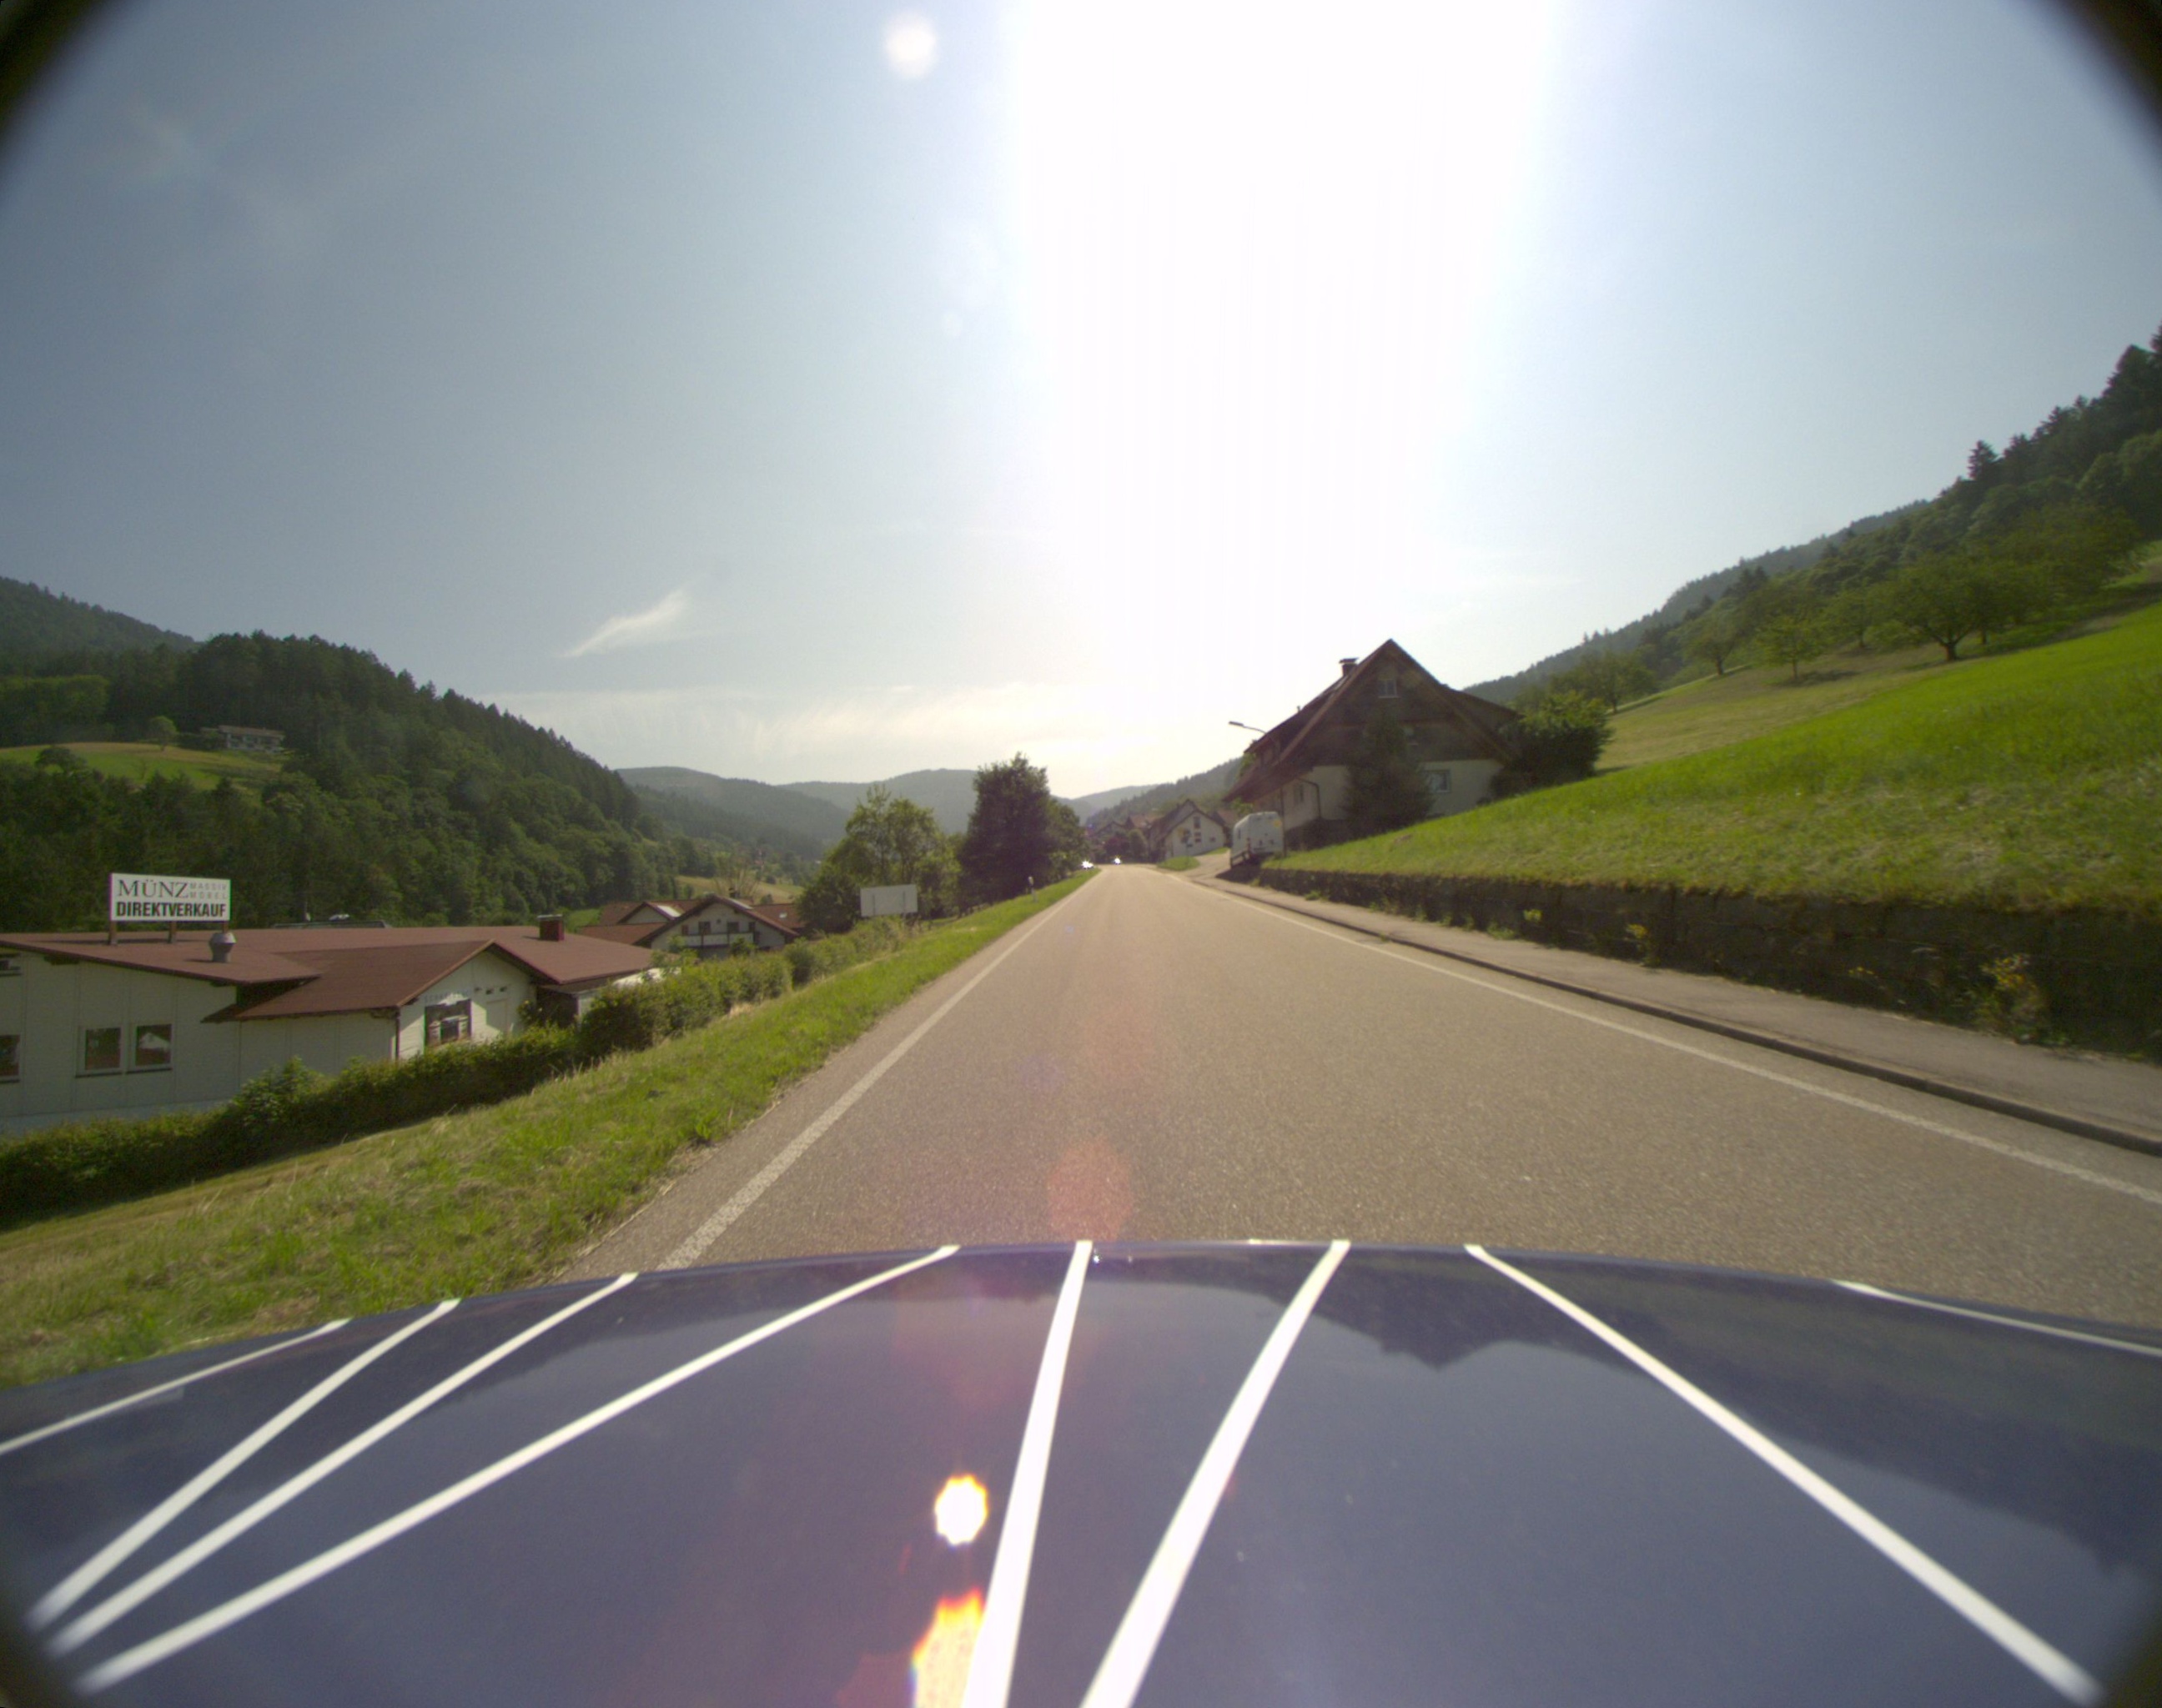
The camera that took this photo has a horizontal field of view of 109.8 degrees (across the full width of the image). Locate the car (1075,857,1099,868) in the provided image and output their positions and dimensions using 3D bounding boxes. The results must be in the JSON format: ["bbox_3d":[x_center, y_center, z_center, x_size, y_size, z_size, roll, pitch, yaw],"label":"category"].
[{"bbox_3d":[1.149,1.535,143.719,1.908,1.562,4.452,-8,1,-42],"label":"car"}]

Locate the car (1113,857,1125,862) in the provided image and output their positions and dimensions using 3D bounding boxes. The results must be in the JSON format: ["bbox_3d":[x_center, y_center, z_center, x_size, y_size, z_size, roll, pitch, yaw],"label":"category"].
[{"bbox_3d":[9.596,1.381,192.149,1.789,1.331,4.690,-3,0,-16],"label":"car"}]

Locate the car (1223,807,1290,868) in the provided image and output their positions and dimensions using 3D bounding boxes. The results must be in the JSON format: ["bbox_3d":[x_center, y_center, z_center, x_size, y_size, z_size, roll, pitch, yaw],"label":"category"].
[{"bbox_3d":[9.616,-0.756,42.308,2.072,2.671,7.179,-5,-3,2],"label":"car"}]
